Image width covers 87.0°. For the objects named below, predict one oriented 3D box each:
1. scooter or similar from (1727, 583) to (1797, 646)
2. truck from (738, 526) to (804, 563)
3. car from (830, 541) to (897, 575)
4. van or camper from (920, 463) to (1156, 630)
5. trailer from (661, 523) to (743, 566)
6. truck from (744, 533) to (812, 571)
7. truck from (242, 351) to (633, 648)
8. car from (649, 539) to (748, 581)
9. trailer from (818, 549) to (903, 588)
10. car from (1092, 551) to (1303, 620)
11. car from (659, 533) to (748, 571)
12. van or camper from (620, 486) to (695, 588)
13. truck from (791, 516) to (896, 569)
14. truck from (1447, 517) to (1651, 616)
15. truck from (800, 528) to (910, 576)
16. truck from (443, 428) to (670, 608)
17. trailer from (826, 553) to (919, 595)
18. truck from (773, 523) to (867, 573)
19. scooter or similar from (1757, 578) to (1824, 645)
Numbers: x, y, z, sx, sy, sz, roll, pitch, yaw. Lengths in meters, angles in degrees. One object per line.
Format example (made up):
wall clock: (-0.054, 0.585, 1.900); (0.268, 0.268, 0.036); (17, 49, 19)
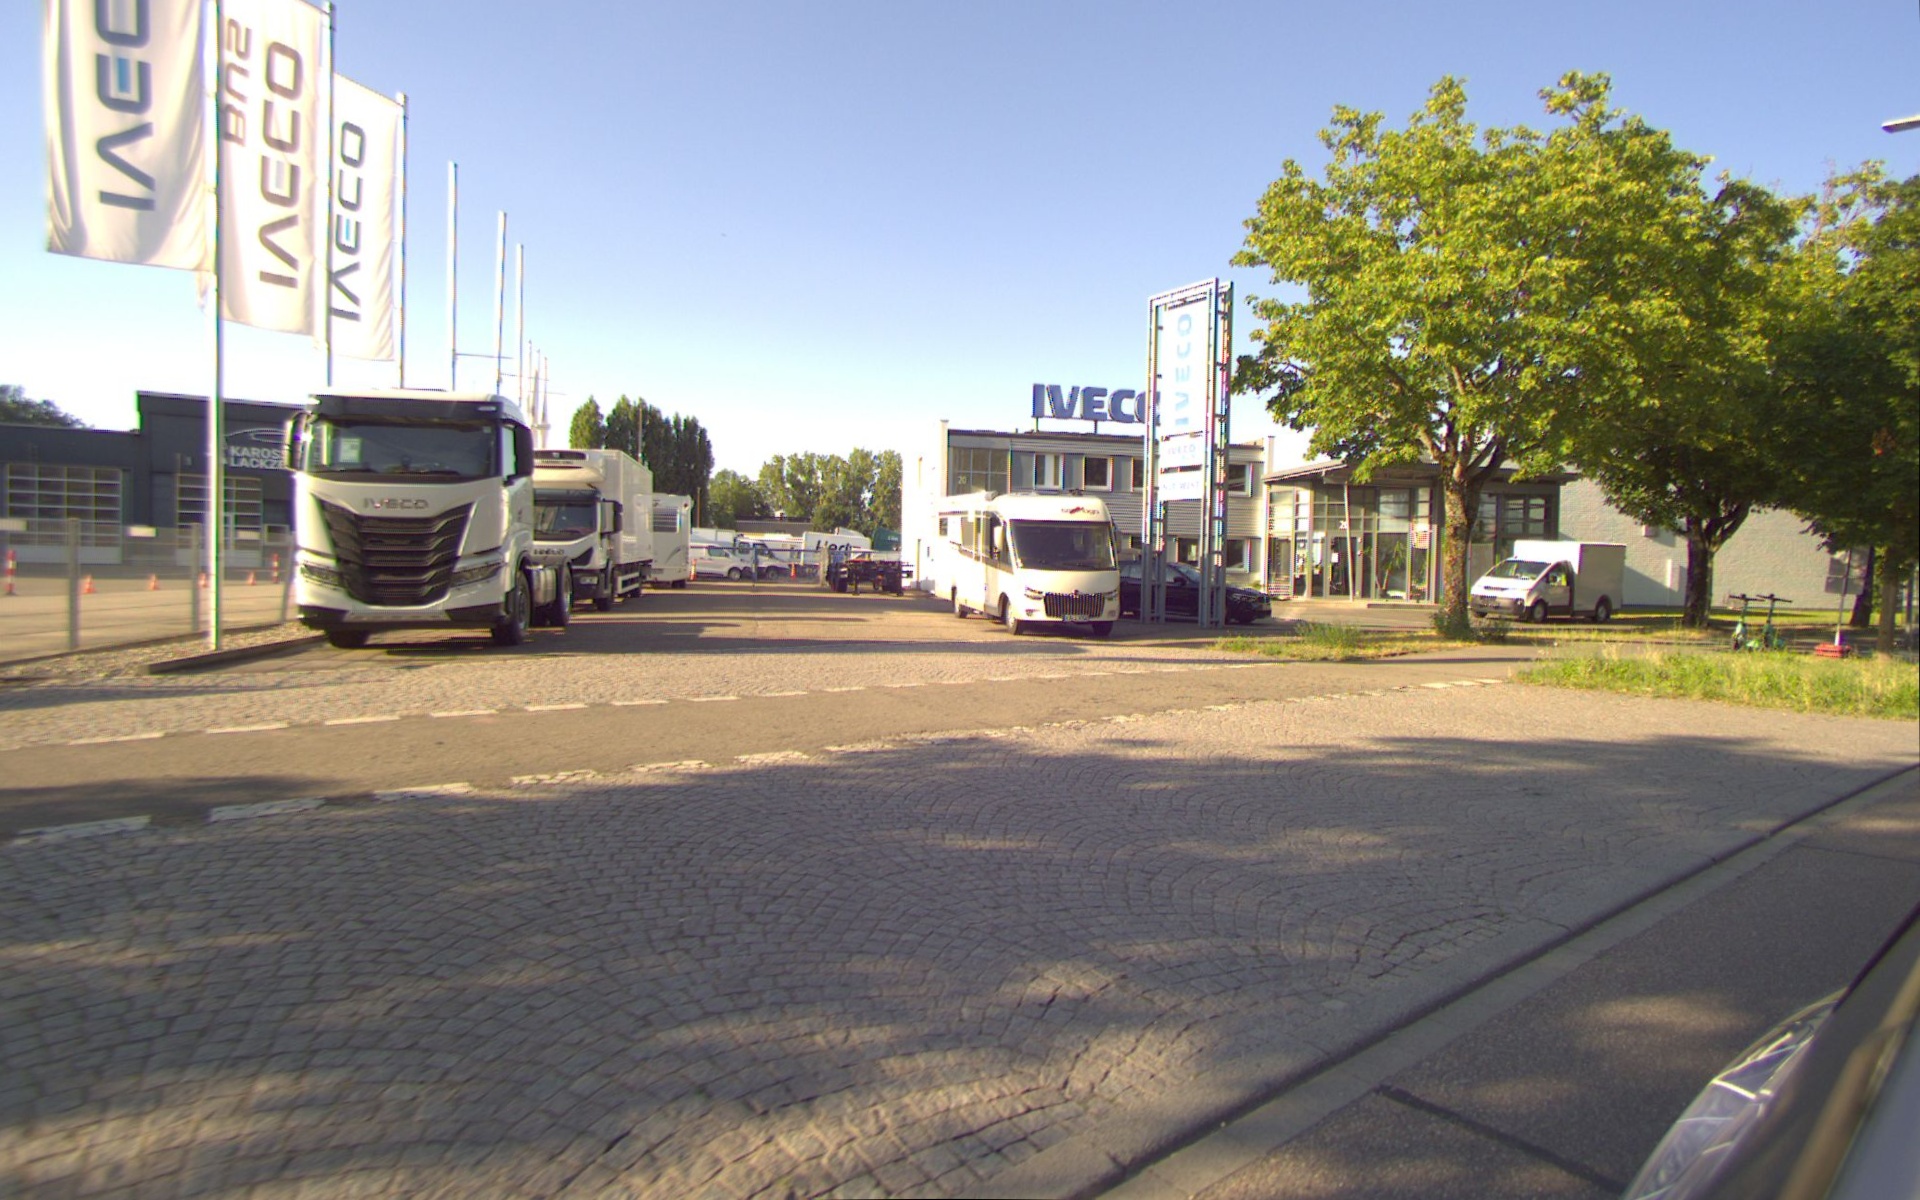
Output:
scooter or similar: (16.018, 0.291, 20.212); (1.452, 1.211, 0.549); (1, 2, -30)
truck: (-15.686, -4.555, 83.870); (5.248, 2.868, 2.005); (1, 2, -12)
car: (-6.174, -2.680, 64.291); (3.916, 2.038, 2.399); (1, 2, -12)
van or camper: (1.289, -1.125, 22.294); (2.881, 2.935, 8.030); (1, 2, -13)
trailer: (-15.934, -3.441, 62.725); (4.756, 2.466, 2.005); (1, 2, -12)
truck: (-14.553, -3.839, 80.893); (5.248, 2.868, 2.005); (1, 2, -12)
truck: (-7.771, -1.392, 16.635); (3.052, 3.565, 8.269); (1, 2, -8)
car: (-13.727, -2.080, 53.308); (4.945, 2.039, 2.004); (0, -1, -13)
trailer: (-4.072, -1.302, 41.155); (3.188, 1.466, 2.262); (1, 2, -12)
car: (5.884, -0.415, 25.403); (4.790, 1.510, 1.973); (3, 3, 38)
car: (-14.942, -2.784, 59.077); (4.945, 2.039, 2.004); (0, -1, -13)
van or camper: (-11.356, -2.287, 38.021); (2.363, 3.369, 8.159); (1, 2, -17)
truck: (-8.021, -3.925, 69.629); (6.965, 3.392, 2.005); (1, 2, -12)
truck: (18.047, -0.983, 30.969); (5.849, 2.753, 2.551); (1, 2, -27)
truck: (-6.918, -3.129, 66.452); (6.965, 2.942, 2.005); (1, 2, -12)
truck: (-9.940, -1.921, 26.391); (3.228, 3.689, 10.139); (1, 2, -9)
trailer: (-3.285, -0.981, 36.639); (2.501, 1.338, 5.667); (1, 2, -13)
truck: (-10.927, -4.032, 78.845); (6.965, 3.619, 2.683); (1, 2, -12)
scooter or similar: (17.270, 0.229, 21.049); (1.452, 1.352, 0.549); (0, 2, -30)
